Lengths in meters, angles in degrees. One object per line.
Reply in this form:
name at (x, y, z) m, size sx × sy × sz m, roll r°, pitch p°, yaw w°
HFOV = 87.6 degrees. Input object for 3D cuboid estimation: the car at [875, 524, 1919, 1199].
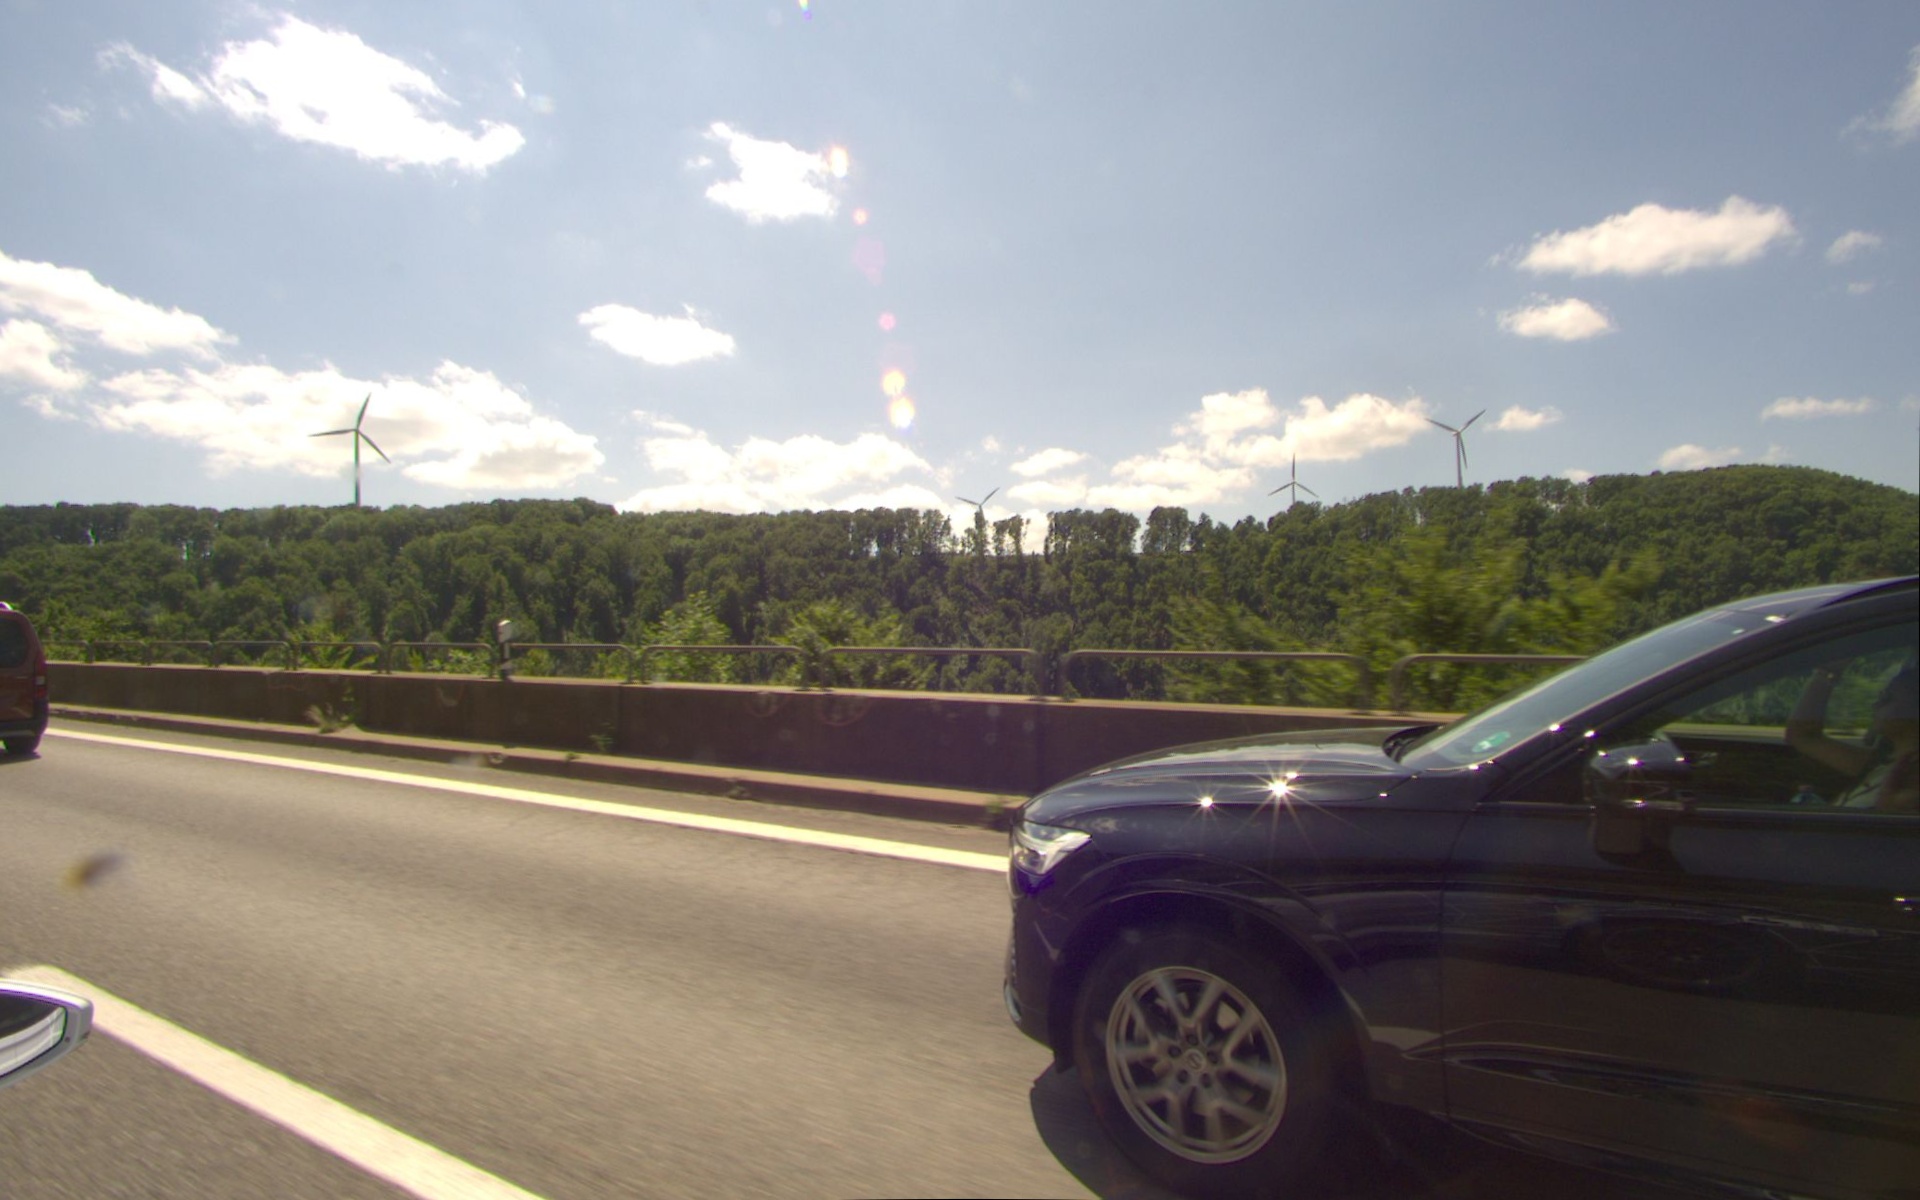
car at (2.170, 0.710, 2.599) m, size 4.594 × 1.654 × 1.832 m, roll -1°, pitch -1°, yaw 31°

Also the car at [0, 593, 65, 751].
car at (-13.137, 0.881, 12.376) m, size 4.608 × 1.807 × 1.830 m, roll -2°, pitch -1°, yaw 31°
